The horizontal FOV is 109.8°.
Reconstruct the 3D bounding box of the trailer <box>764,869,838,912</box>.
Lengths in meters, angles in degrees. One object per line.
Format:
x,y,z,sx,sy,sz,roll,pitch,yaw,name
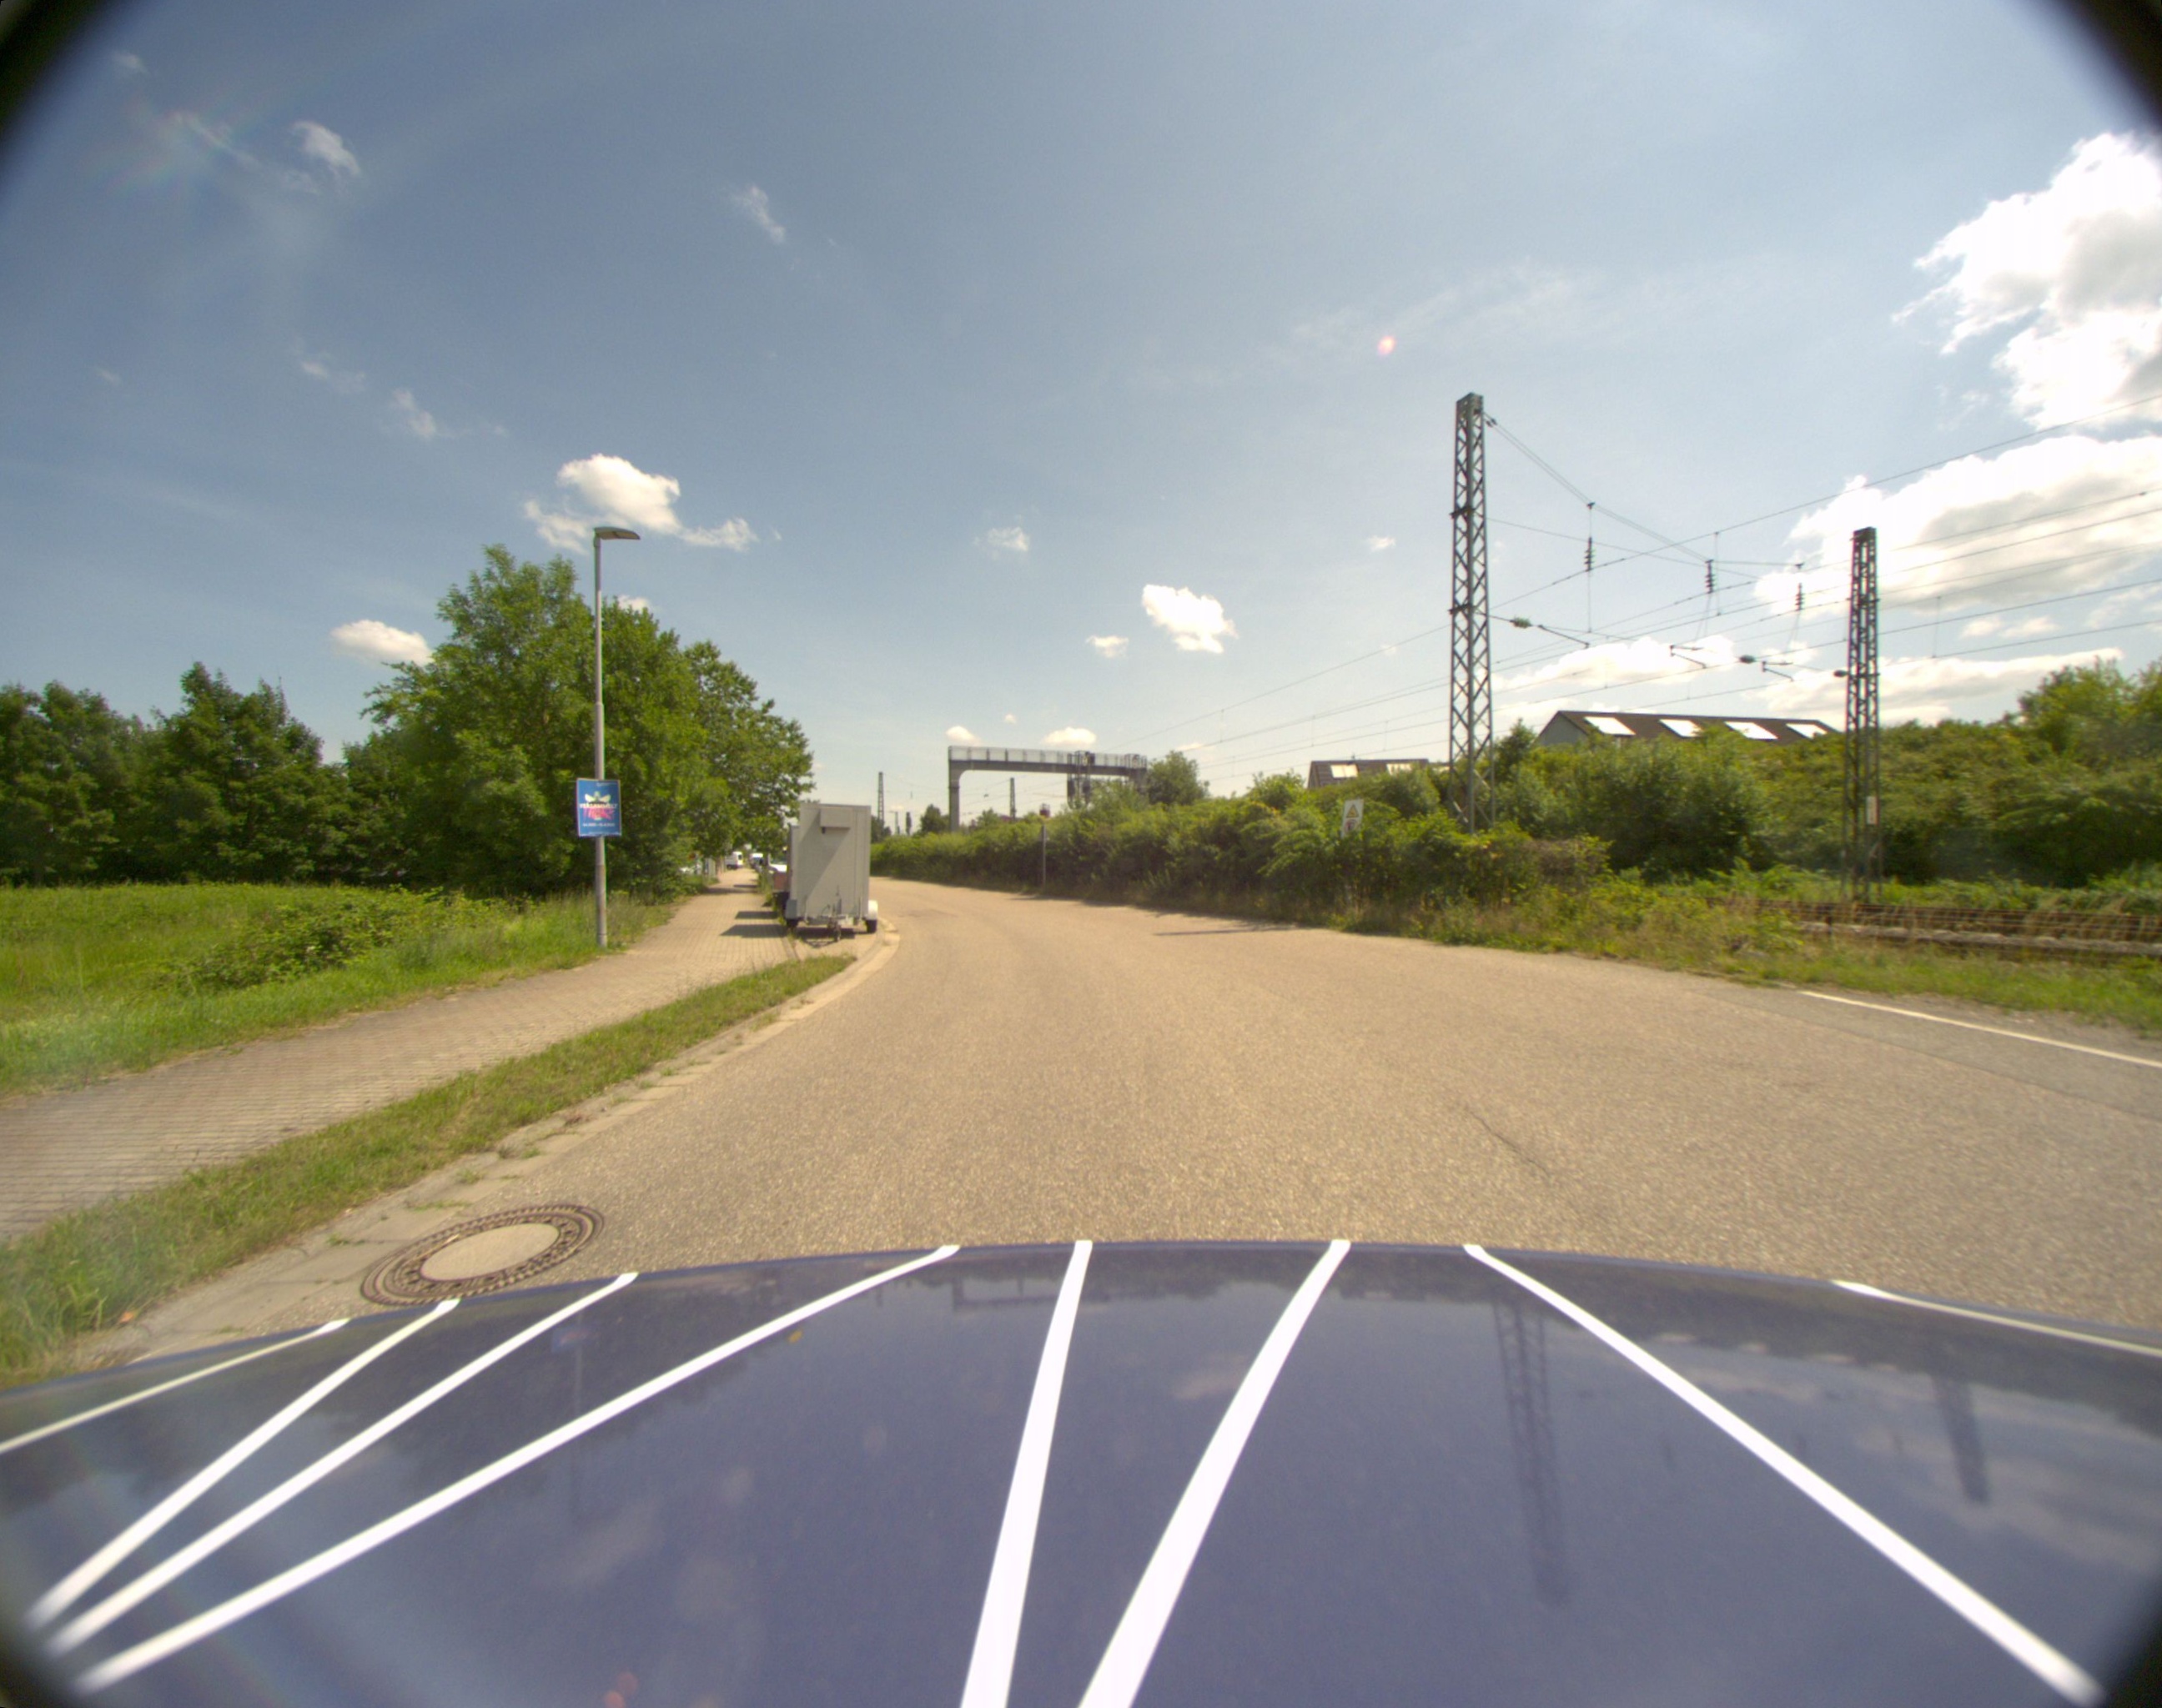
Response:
-9.110,1.147,24.722,2.013,1.116,4.480,2,0,-21,trailer

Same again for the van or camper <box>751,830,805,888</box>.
-16.585,0.270,41.350,2.450,2.810,7.608,1,0,-24,van or camper

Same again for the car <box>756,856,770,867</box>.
-48.884,1.146,116.843,1.809,1.692,3.992,2,-1,-24,car

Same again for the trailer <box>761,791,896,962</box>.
-4.749,0.397,14.492,1.941,2.628,5.175,2,-1,-18,trailer

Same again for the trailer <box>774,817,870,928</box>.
-6.813,0.449,19.638,1.927,2.493,4.731,2,-1,-23,trailer
